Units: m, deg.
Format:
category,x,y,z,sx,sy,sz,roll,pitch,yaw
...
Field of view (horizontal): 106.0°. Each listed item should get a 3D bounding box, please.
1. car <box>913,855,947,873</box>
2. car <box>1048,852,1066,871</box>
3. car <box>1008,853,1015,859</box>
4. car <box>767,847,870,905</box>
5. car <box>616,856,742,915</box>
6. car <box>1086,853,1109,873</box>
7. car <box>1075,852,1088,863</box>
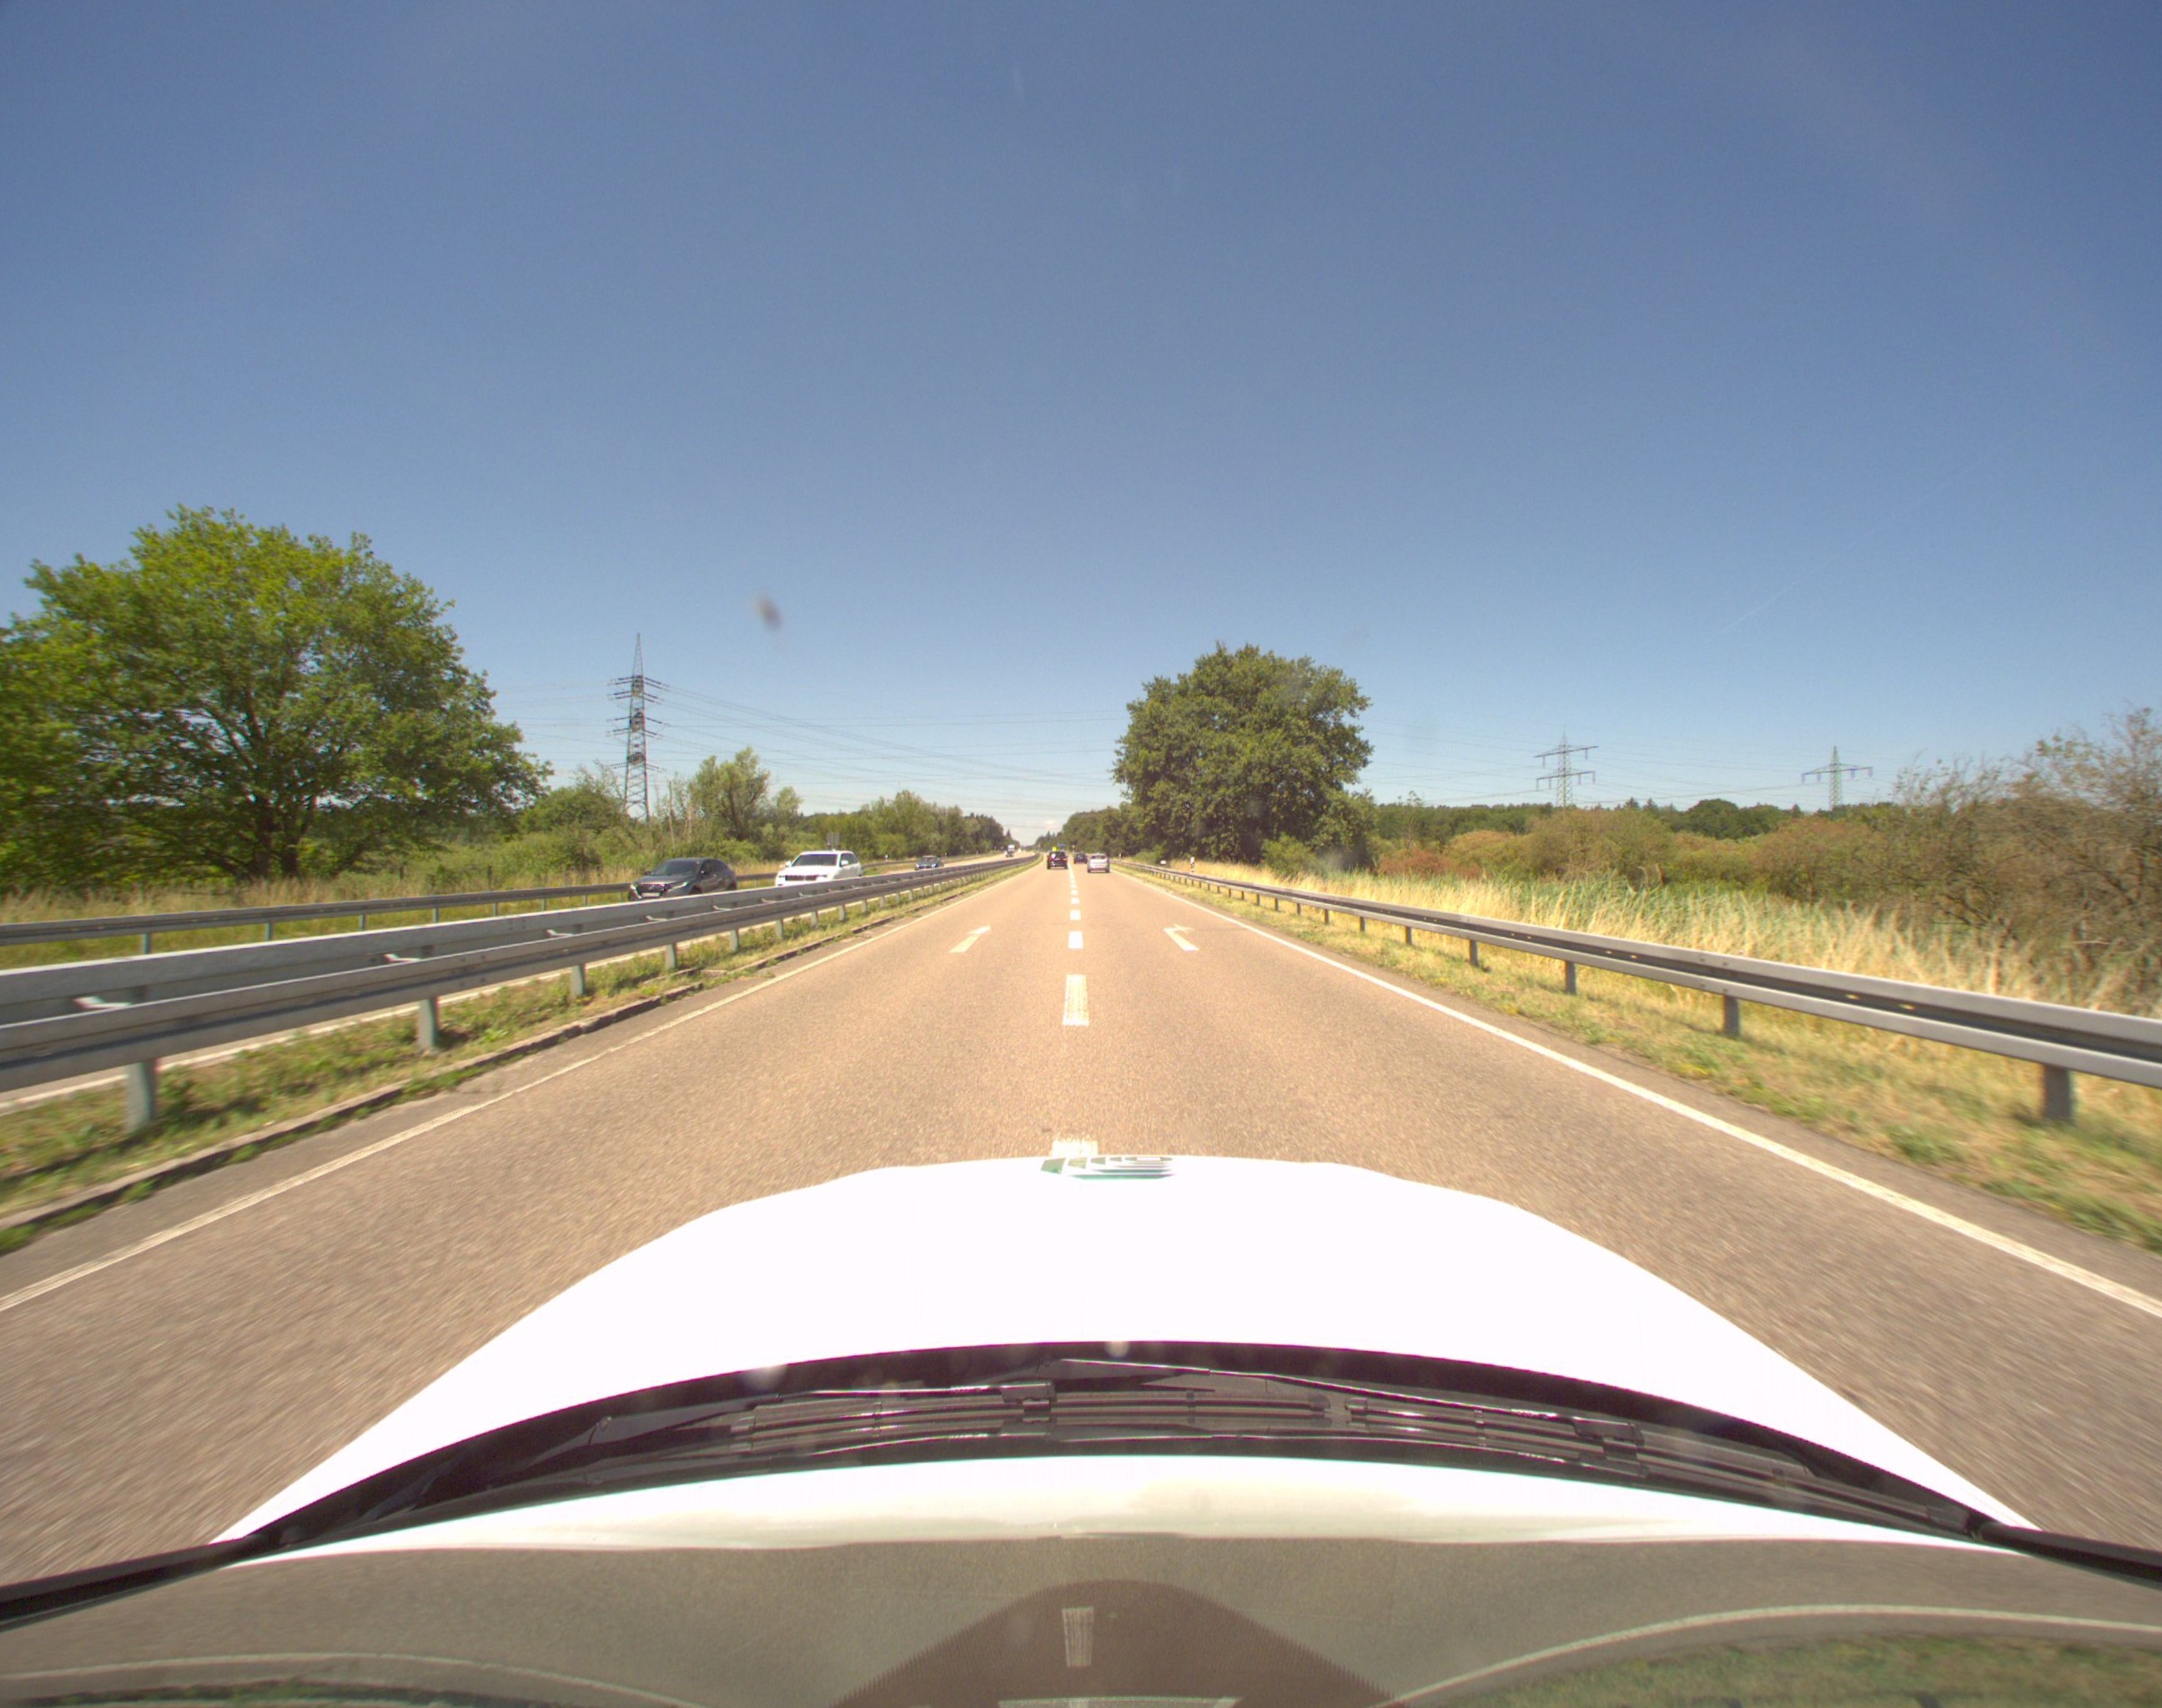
category,x,y,z,sx,sy,sz,roll,pitch,yaw
car,-12.483,0.769,67.621,1.918,1.385,4.657,-1,0,0
car,-2.239,0.674,77.167,1.635,1.653,3.572,2,0,-1
car,-17.374,0.396,203.365,1.841,1.413,4.673,0,0,-4
car,-8.964,0.688,28.304,1.974,1.807,4.967,-1,0,-1
car,-12.206,0.882,25.067,1.837,1.618,4.169,-1,0,-1
car,1.276,0.671,63.606,1.635,1.468,3.417,2,0,-1
car,0.128,0.498,107.118,1.634,1.342,3.574,2,0,1
